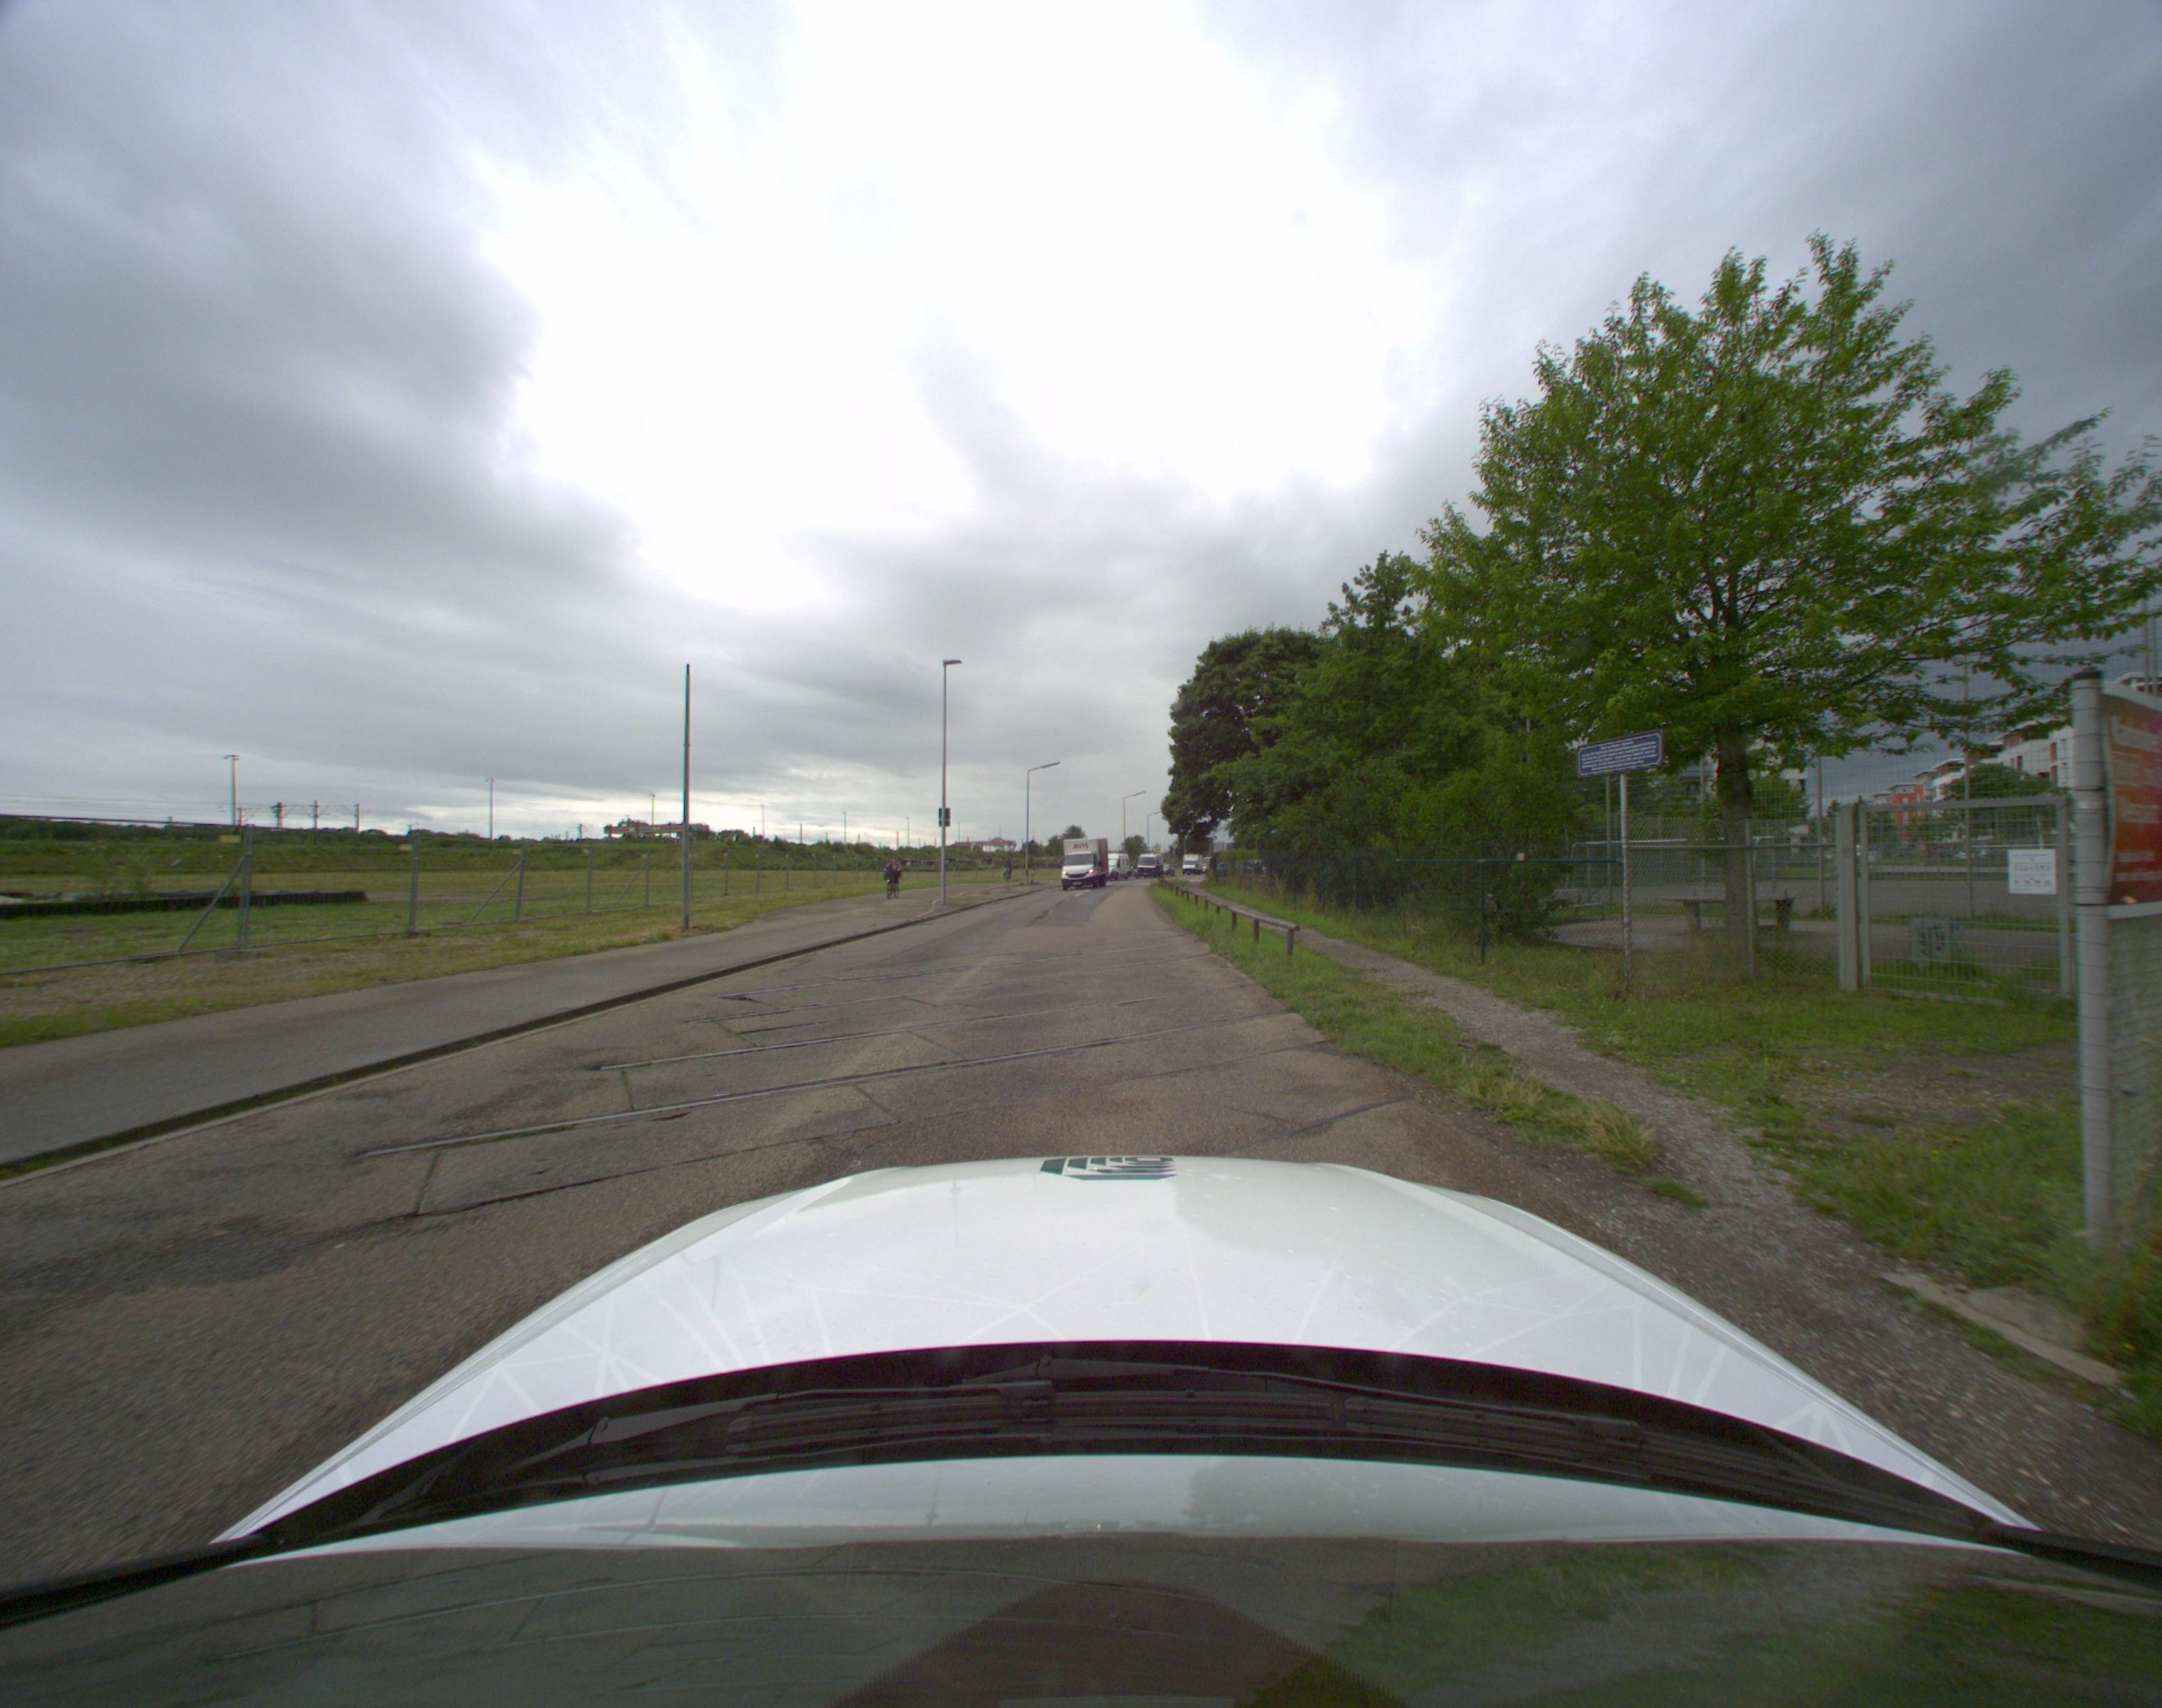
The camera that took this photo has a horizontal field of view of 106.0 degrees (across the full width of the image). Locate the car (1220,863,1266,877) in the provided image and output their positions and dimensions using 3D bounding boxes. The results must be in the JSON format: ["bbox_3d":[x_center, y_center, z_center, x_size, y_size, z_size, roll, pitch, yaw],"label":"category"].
[{"bbox_3d":[17.835,1.721,89.667,4.823,1.500,1.850,0,0,16],"label":"car"}]

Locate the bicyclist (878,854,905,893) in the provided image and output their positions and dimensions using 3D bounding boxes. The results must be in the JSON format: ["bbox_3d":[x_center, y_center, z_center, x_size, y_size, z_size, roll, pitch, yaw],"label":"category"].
[{"bbox_3d":[-7.594,0.763,32.722,0.779,1.526,1.094,0,0,2],"label":"bicyclist"}]

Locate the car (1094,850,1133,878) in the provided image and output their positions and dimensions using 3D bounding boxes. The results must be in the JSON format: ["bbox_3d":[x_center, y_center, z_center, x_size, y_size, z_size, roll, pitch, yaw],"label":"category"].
[{"bbox_3d":[3.172,0.918,77.075,2.272,2.555,6.436,-1,0,15],"label":"car"}]

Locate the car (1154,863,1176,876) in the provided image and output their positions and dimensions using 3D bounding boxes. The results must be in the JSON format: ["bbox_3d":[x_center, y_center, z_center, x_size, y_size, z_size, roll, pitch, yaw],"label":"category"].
[{"bbox_3d":[10.276,1.864,99.429,1.765,1.505,4.019,-1,0,18],"label":"car"}]

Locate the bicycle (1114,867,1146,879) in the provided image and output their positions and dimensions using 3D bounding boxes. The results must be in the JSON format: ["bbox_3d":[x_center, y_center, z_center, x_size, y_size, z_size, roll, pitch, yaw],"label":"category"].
[{"bbox_3d":[5.116,1.970,84.642,3.096,1.199,1.370,0,0,16],"label":"bicycle"}]

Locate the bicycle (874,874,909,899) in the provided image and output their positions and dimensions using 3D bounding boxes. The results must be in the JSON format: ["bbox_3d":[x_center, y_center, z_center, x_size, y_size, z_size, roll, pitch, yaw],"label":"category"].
[{"bbox_3d":[-7.604,1.277,32.718,0.800,0.907,2.234,0,0,2],"label":"bicycle"}]

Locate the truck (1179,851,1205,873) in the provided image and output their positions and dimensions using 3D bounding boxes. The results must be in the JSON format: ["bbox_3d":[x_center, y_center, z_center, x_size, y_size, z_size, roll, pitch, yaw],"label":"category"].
[{"bbox_3d":[16.300,1.124,119.280,2.442,3.060,8.198,-1,0,17],"label":"truck"}]

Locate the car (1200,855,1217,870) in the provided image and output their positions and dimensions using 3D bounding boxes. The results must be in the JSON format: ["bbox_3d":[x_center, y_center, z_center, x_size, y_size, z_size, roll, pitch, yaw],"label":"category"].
[{"bbox_3d":[21.337,1.395,136.045,1.989,2.574,4.807,-1,0,17],"label":"car"}]

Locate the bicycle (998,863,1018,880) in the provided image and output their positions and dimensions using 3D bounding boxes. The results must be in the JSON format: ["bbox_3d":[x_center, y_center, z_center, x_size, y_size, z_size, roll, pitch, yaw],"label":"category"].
[{"bbox_3d":[-5.340,1.282,59.600,0.814,1.204,2.563,0,0,9],"label":"bicycle"}]

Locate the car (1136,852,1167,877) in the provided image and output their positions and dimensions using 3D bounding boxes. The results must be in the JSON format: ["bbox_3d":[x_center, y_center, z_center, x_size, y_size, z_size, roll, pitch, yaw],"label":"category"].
[{"bbox_3d":[8.076,1.158,92.732,2.282,2.734,6.119,0,0,17],"label":"car"}]

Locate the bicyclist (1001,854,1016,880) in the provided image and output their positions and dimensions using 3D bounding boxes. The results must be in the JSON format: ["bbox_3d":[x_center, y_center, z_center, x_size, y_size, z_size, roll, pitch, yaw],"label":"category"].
[{"bbox_3d":[-5.313,0.943,59.817,0.822,1.821,1.333,0,0,9],"label":"bicyclist"}]

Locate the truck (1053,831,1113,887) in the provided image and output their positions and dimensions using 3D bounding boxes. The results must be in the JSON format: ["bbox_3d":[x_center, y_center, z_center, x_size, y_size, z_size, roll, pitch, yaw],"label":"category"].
[{"bbox_3d":[0.266,0.307,49.583,2.327,3.062,7.516,-3,-1,9],"label":"truck"}]

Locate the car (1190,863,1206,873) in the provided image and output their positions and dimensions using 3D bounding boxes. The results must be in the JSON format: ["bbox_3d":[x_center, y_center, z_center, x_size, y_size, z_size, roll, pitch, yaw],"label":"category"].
[{"bbox_3d":[18.323,2.167,127.375,1.741,1.525,4.018,-1,0,17],"label":"car"}]

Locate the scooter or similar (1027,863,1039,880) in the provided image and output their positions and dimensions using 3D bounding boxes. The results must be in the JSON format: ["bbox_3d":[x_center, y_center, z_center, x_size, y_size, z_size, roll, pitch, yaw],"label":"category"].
[{"bbox_3d":[-3.540,1.297,59.979,0.606,1.183,1.703,2,-1,3],"label":"scooter or similar"}]

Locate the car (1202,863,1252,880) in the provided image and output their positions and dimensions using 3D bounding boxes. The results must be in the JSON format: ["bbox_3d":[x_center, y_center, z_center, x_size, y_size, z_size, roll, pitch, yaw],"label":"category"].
[{"bbox_3d":[14.808,1.758,82.594,4.823,1.616,1.850,0,0,16],"label":"car"}]
